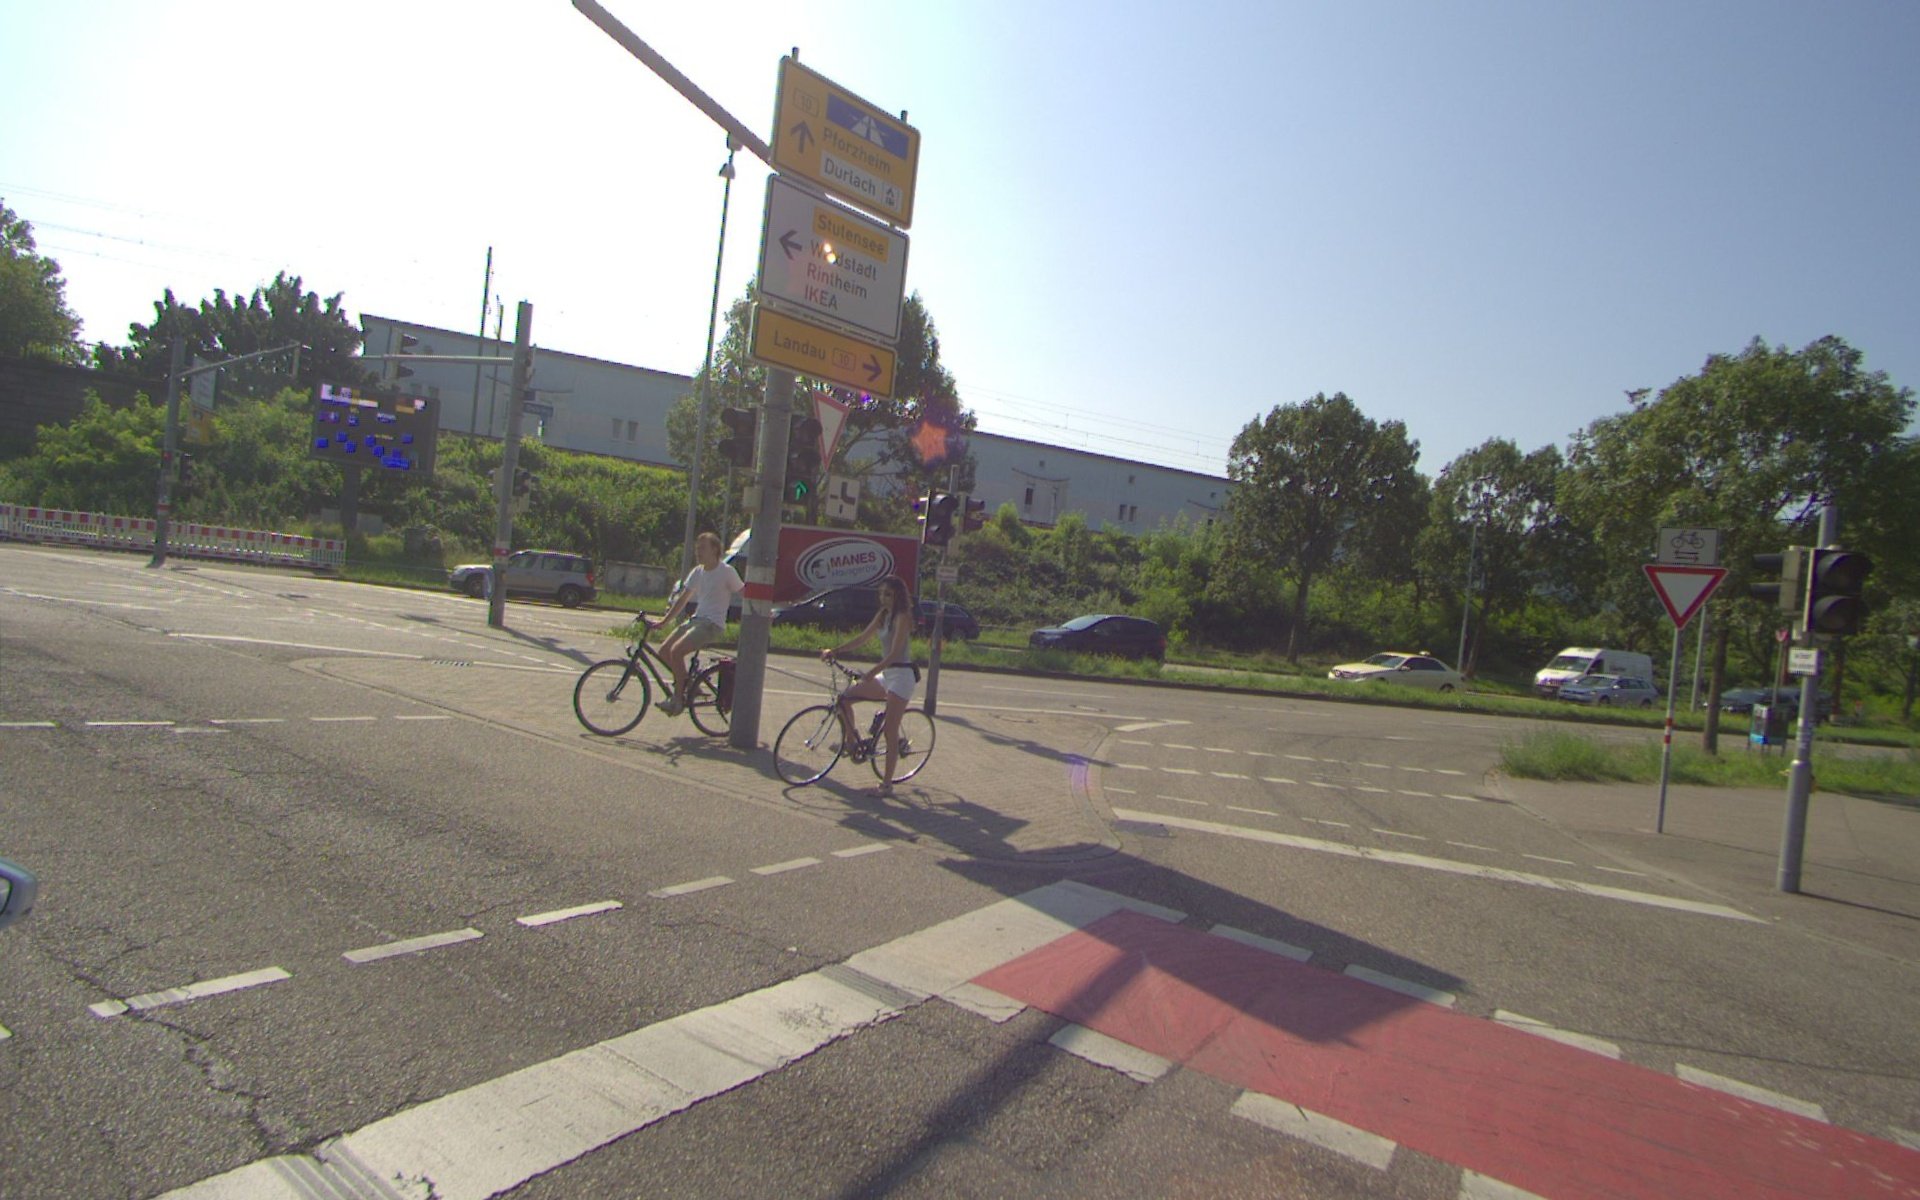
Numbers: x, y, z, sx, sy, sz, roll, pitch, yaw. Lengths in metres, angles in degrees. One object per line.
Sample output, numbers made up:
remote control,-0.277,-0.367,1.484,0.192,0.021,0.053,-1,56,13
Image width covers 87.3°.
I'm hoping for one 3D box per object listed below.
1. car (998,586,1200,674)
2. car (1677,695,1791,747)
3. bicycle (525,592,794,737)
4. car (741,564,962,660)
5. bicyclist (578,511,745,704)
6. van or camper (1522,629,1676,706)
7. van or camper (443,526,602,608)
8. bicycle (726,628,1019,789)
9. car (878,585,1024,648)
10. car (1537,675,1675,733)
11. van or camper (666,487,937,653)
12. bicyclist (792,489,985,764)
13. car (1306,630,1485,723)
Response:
car,3.922,0.851,28.507,5.152,1.760,2.137,9,-2,-20
car,30.147,4.703,39.207,3.702,1.413,1.651,9,-2,-19
bicycle,-2.776,0.628,9.430,2.200,1.100,0.766,8,-1,-34
car,-2.745,0.320,25.422,5.125,1.631,1.898,9,-2,-21
bicyclist,-2.789,0.089,9.430,1.194,1.612,0.592,8,-1,-34
van or camper,28.898,3.063,45.443,6.777,2.511,2.239,9,-2,-23
van or camper,-13.171,-0.952,30.506,4.120,1.797,1.843,9,-2,-22
bicycle,-0.648,0.905,8.169,2.246,1.100,0.764,8,-2,-40
car,-0.327,0.578,36.008,4.701,1.555,2.079,9,-2,-20
car,26.461,4.240,41.224,4.907,1.627,2.158,9,-2,-20
van or camper,-4.363,-0.702,27.808,6.758,3.401,2.240,9,-2,-21
bicyclist,-0.562,0.241,8.125,1.196,2.037,0.591,8,-1,-39
car,14.380,2.517,33.231,5.152,2.287,2.240,9,-2,-20
